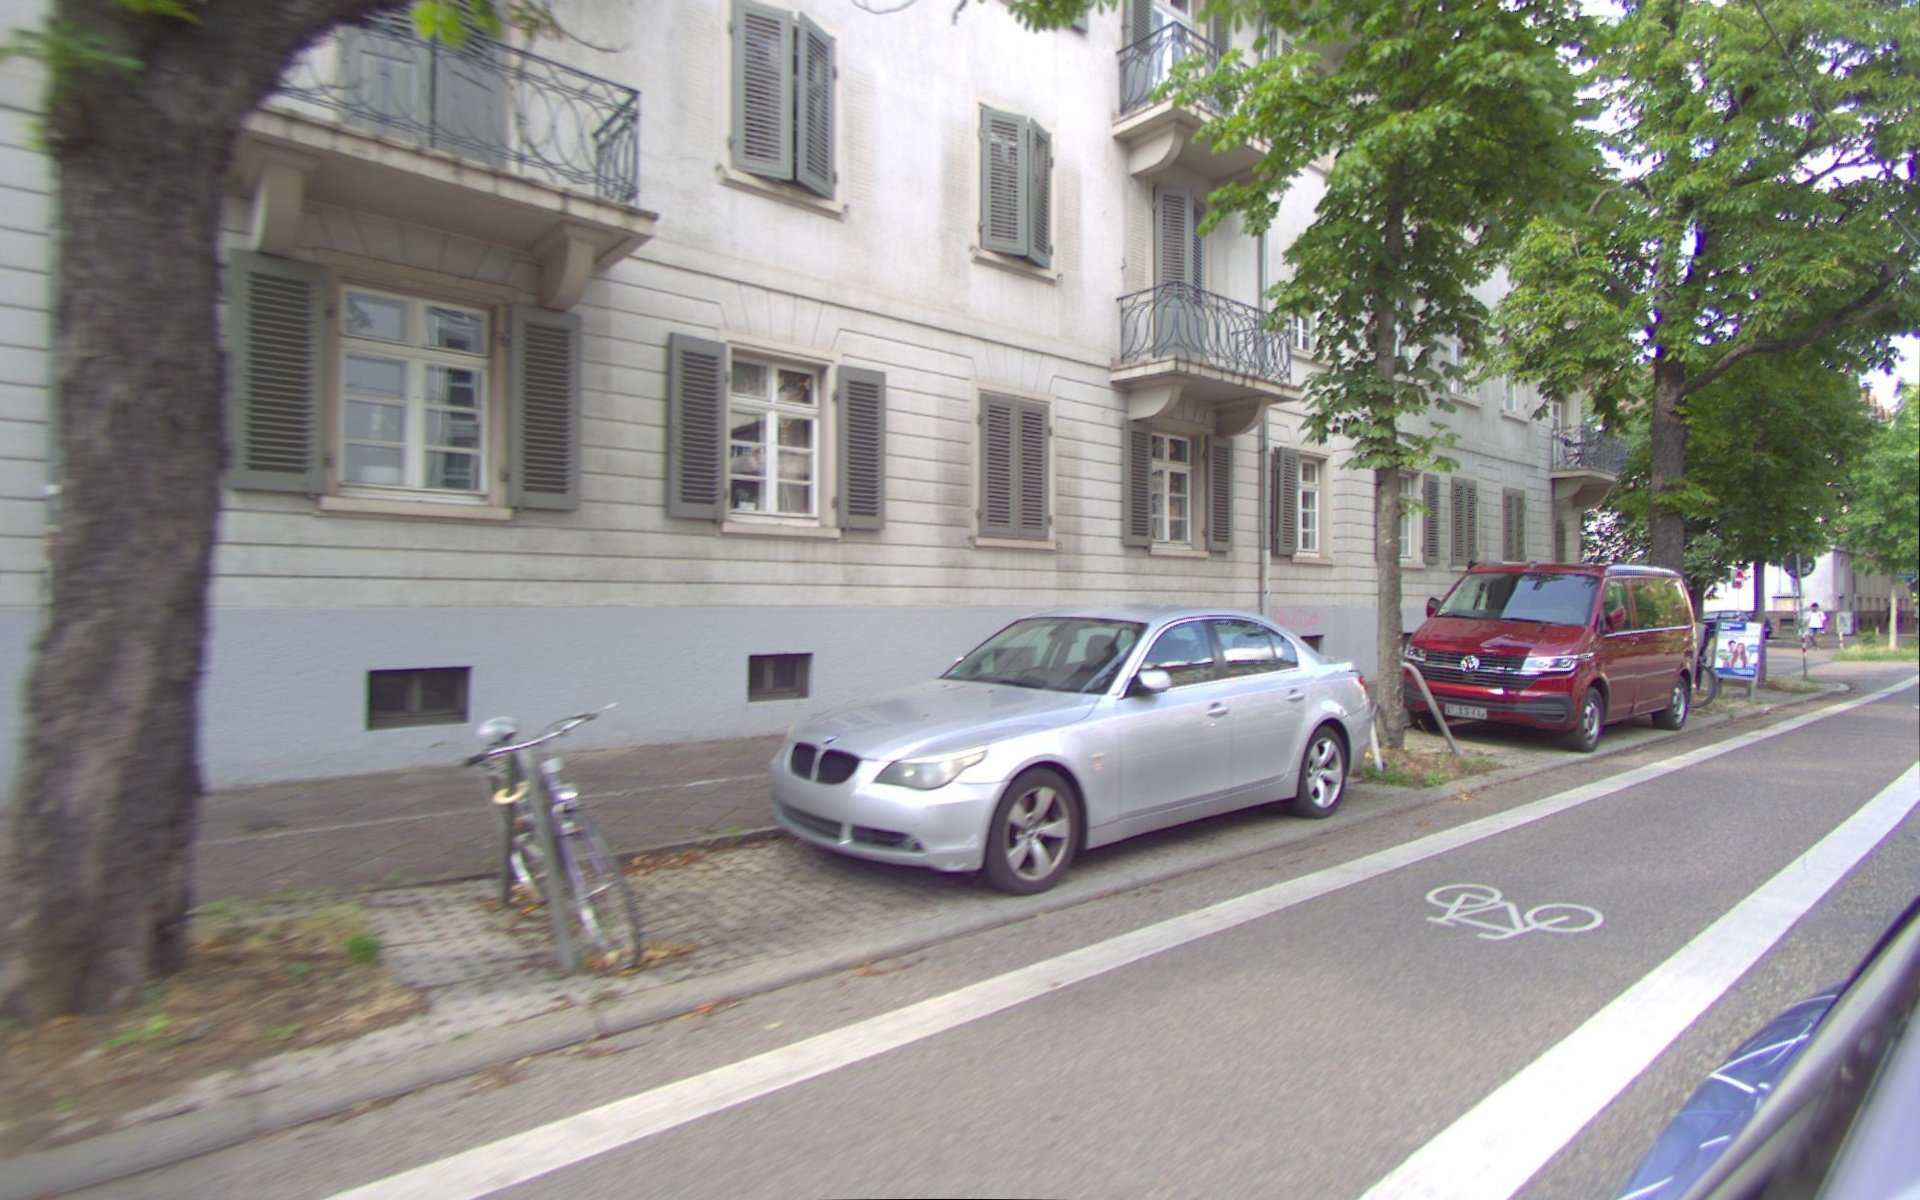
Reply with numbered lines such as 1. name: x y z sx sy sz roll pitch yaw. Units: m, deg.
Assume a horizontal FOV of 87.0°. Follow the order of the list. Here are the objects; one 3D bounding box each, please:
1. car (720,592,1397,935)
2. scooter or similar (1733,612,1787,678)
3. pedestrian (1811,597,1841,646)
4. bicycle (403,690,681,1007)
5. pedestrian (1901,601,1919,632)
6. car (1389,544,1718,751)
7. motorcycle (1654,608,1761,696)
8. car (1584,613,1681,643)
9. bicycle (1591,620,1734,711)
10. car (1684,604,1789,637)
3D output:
1. car: 0.950 0.731 6.690 4.705 1.517 1.710 0 0 -41
2. scooter or similar: 16.121 0.877 20.389 1.689 1.267 0.533 0 0 -40
3. pedestrian: 33.413 0.825 39.044 1.011 1.857 0.619 1 -1 -37
4. bicycle: -1.870 0.924 4.360 0.679 0.914 1.781 0 0 -37
5. pedestrian: 51.097 0.897 54.420 0.959 1.660 0.581 1 -1 -41
6. car: 7.142 0.455 11.942 4.864 1.965 1.898 0 0 -41
7. motorcycle: 12.354 0.806 16.693 2.401 1.338 0.859 0 -1 -40
8. car: 35.438 1.462 53.461 1.695 1.470 4.264 0 -1 -13
9. bicycle: 10.191 0.917 14.717 0.580 1.219 1.611 1 -1 -43
10. car: 36.645 0.938 47.863 1.695 1.470 3.581 0 -1 -17
